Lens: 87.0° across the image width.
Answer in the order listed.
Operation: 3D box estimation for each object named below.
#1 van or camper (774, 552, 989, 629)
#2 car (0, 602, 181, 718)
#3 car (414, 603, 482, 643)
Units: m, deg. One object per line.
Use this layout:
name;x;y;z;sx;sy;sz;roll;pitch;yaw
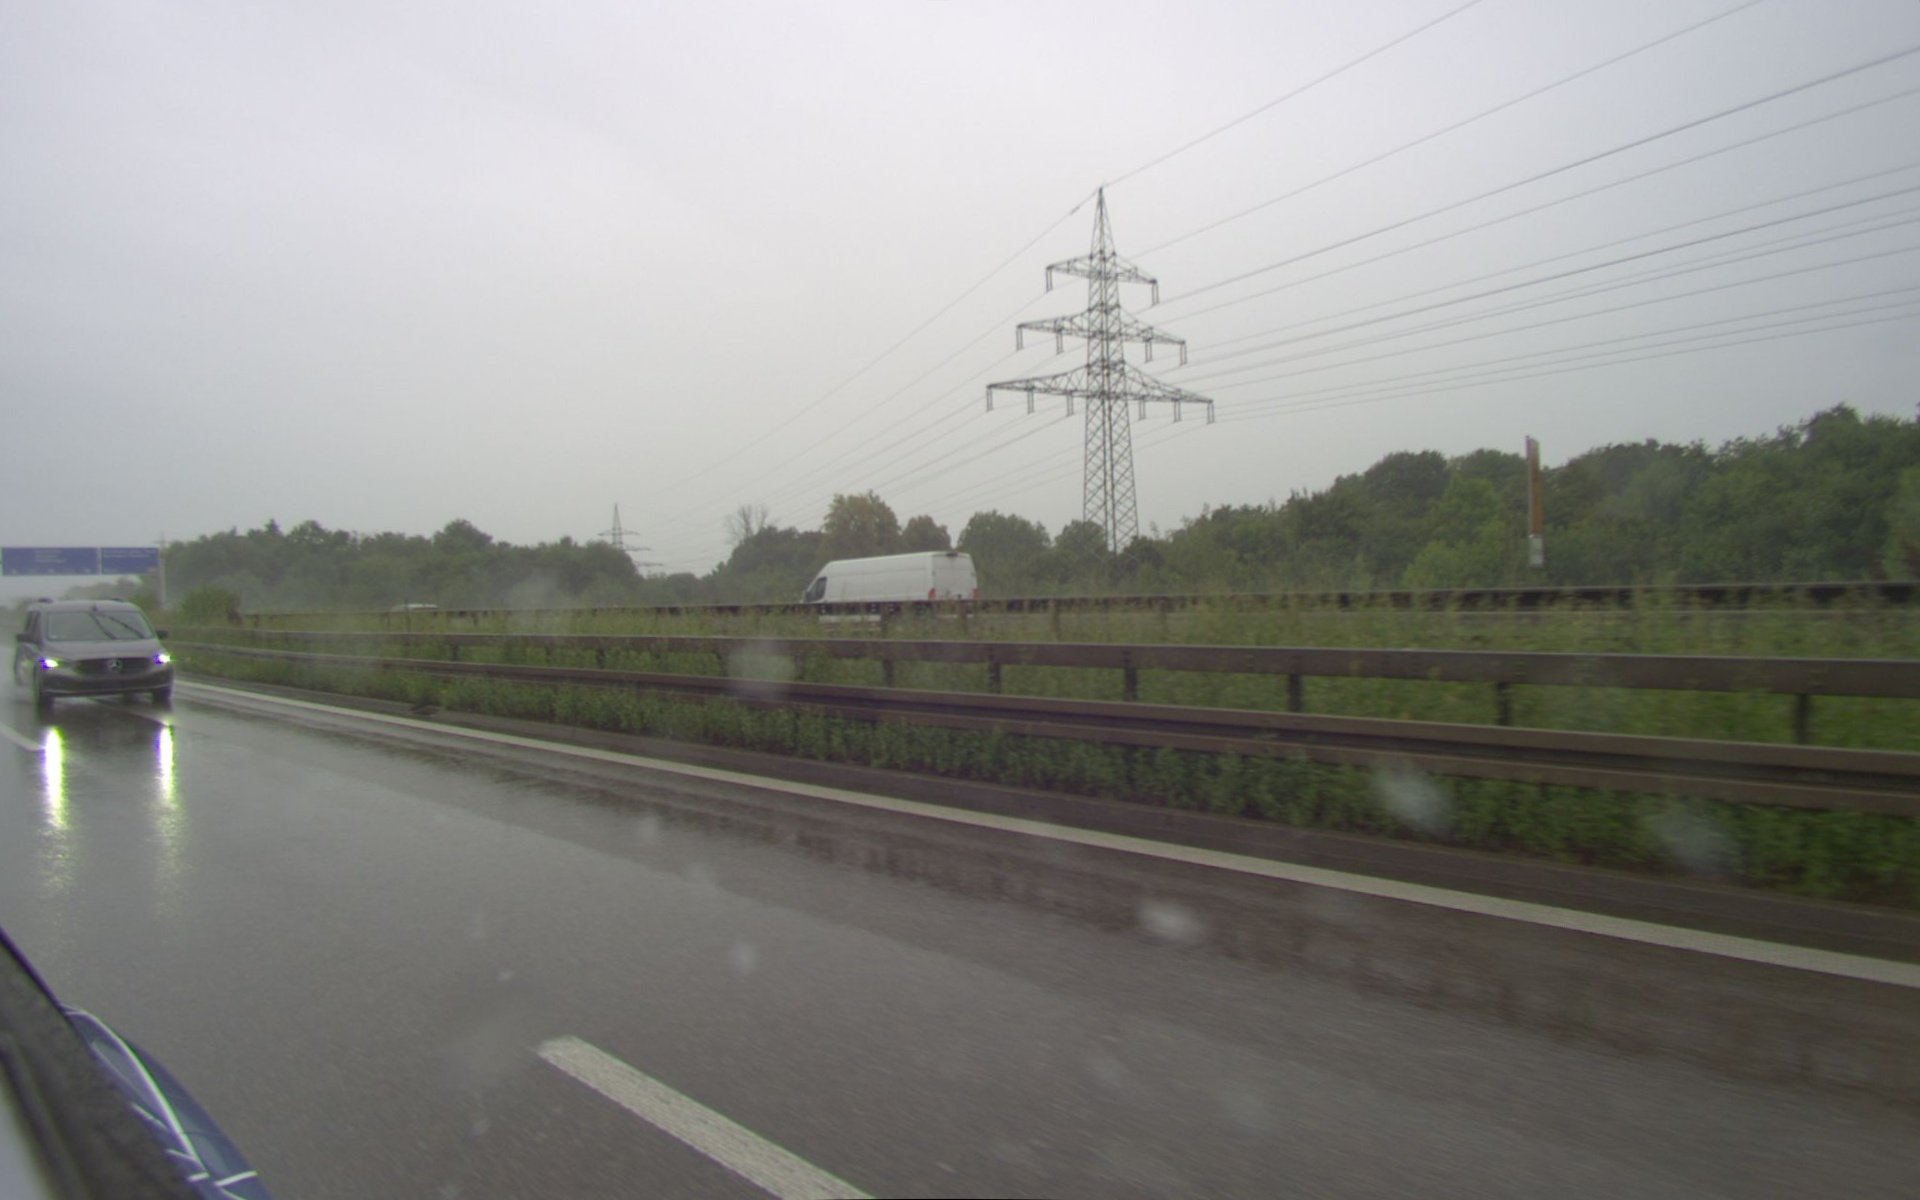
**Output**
van or camper;-2.488;-0.235;30.120;6.757;1.986;2.254;-2;2;42
car;-15.633;0.990;17.929;4.497;1.787;2.021;-2;-1;40
car;-20.471;0.950;40.427;3.256;1.515;1.292;-2;-3;42
